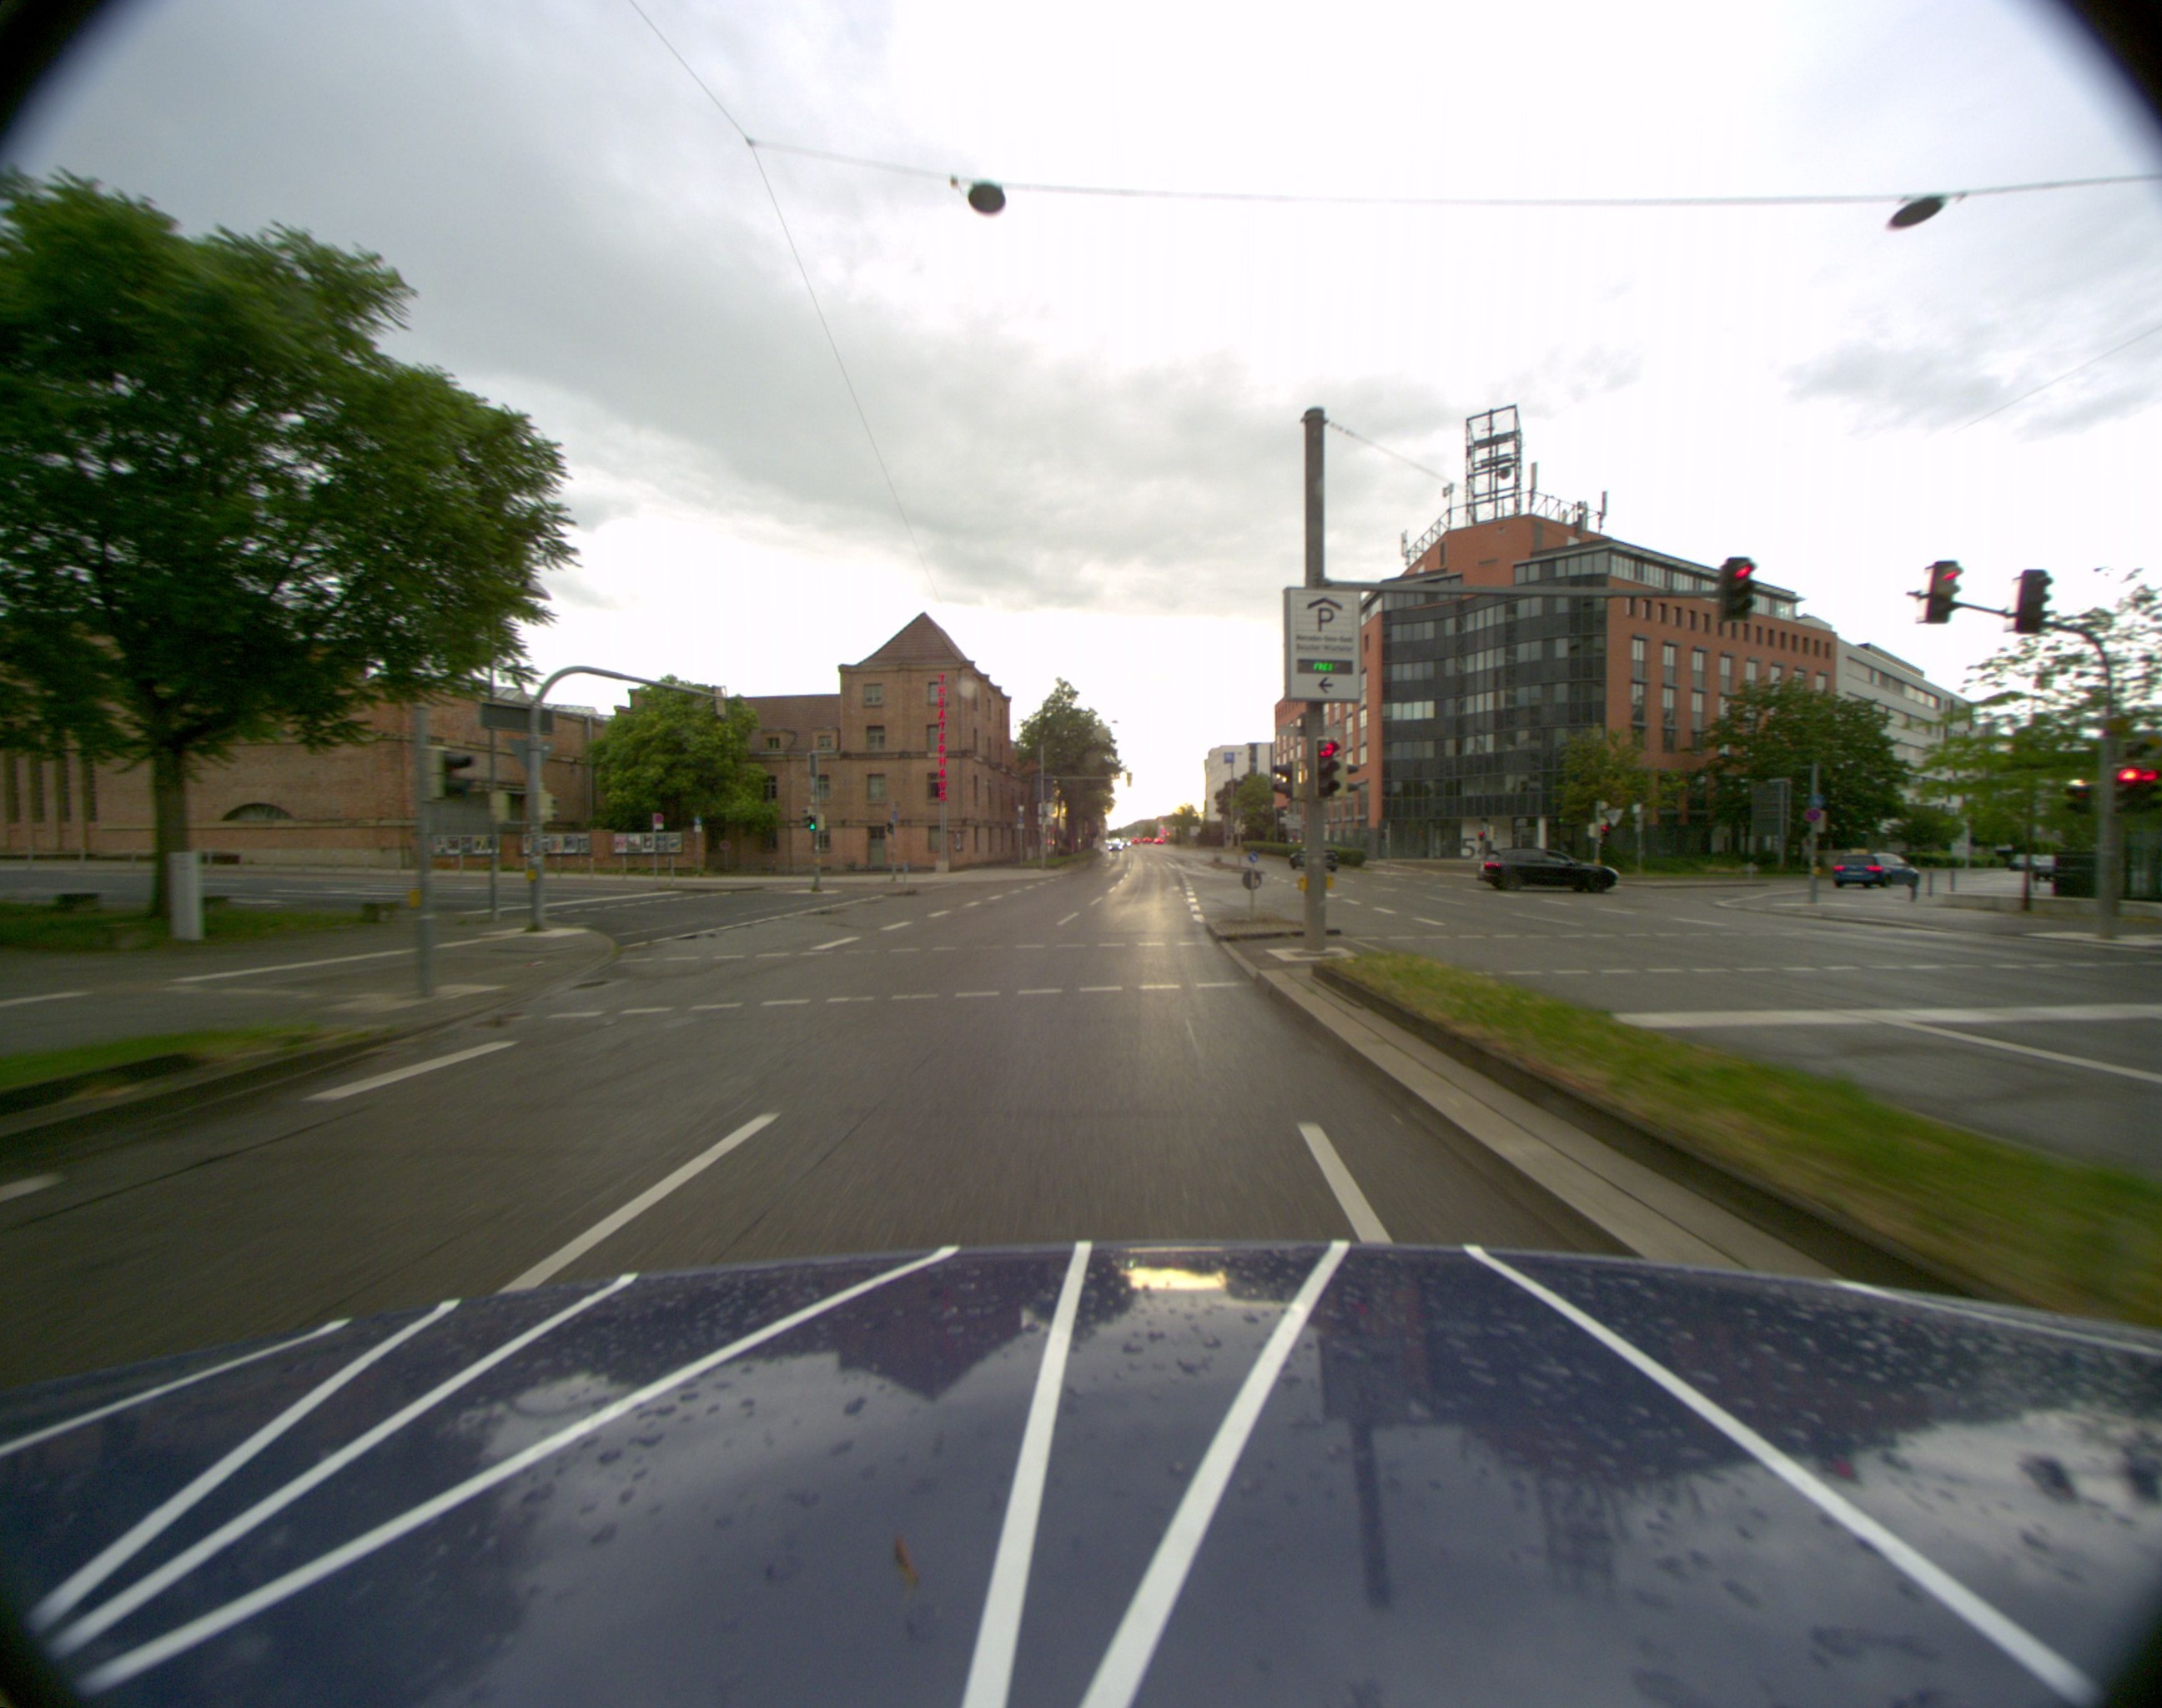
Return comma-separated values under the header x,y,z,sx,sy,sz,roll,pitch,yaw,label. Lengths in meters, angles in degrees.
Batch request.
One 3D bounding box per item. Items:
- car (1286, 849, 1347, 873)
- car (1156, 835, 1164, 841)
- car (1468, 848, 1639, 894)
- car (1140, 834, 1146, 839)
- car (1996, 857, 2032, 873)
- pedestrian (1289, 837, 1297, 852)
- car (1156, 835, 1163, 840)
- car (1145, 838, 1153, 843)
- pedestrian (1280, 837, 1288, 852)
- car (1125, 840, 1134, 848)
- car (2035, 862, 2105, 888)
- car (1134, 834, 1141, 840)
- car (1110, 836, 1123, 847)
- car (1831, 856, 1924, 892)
x,y,z,sx,sy,sz,roll,pitch,yaw,label
15.884,0.441,51.514,1.858,1.501,4.366,1,1,-15,car
21.043,-4.267,202.015,1.767,1.559,3.999,0,2,1,car
18.488,0.609,30.042,5.412,1.657,2.003,1,2,19,car
20.679,-5.800,253.186,1.998,1.543,4.000,0,2,4,car
94.108,1.118,76.614,4.007,1.501,1.795,0,1,-32,car
25.602,-1.142,91.635,0.747,1.831,0.886,-1,2,3,pedestrian
22.448,-4.765,217.218,1.766,1.559,3.999,-1,2,2,car
18.781,-3.713,209.841,1.998,1.543,4.000,0,2,4,car
24.593,-1.147,92.140,0.747,1.831,0.886,-1,2,3,pedestrian
9.590,-2.003,149.549,1.798,1.501,4.001,1,1,4,car
61.918,1.272,47.564,4.054,1.502,1.848,0,2,-26,car
15.066,-4.469,202.284,1.998,1.543,4.000,0,2,4,car
5.131,-1.782,110.318,1.798,1.501,4.001,1,1,4,car
38.196,0.917,36.430,4.203,1.587,1.774,0,2,-25,car
